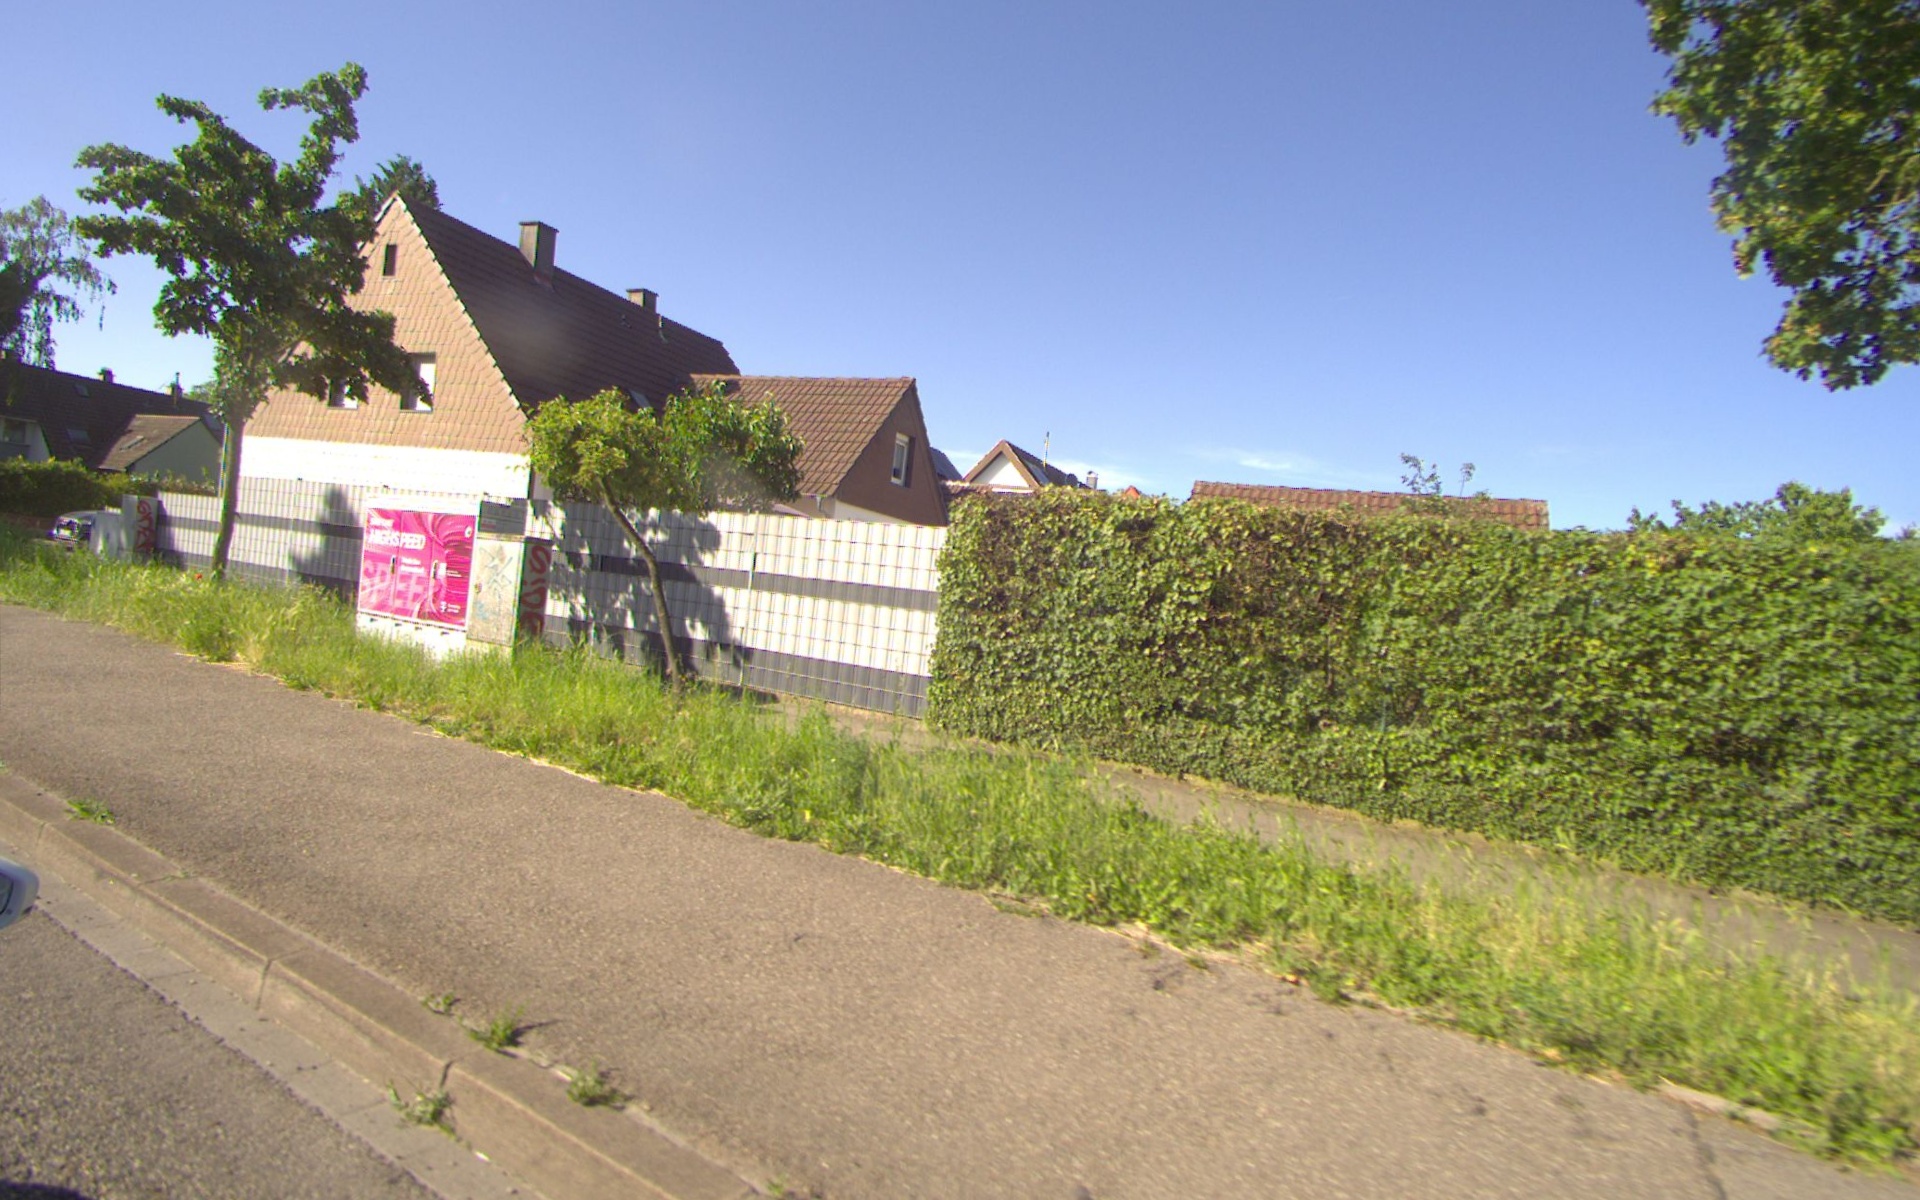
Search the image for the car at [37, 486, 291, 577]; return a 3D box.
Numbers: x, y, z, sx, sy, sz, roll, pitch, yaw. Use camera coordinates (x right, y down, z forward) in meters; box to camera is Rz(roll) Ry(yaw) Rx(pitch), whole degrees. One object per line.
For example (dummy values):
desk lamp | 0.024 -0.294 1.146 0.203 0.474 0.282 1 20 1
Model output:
car | -20.760 -1.735 26.505 2.034 1.677 4.753 8 0 25
